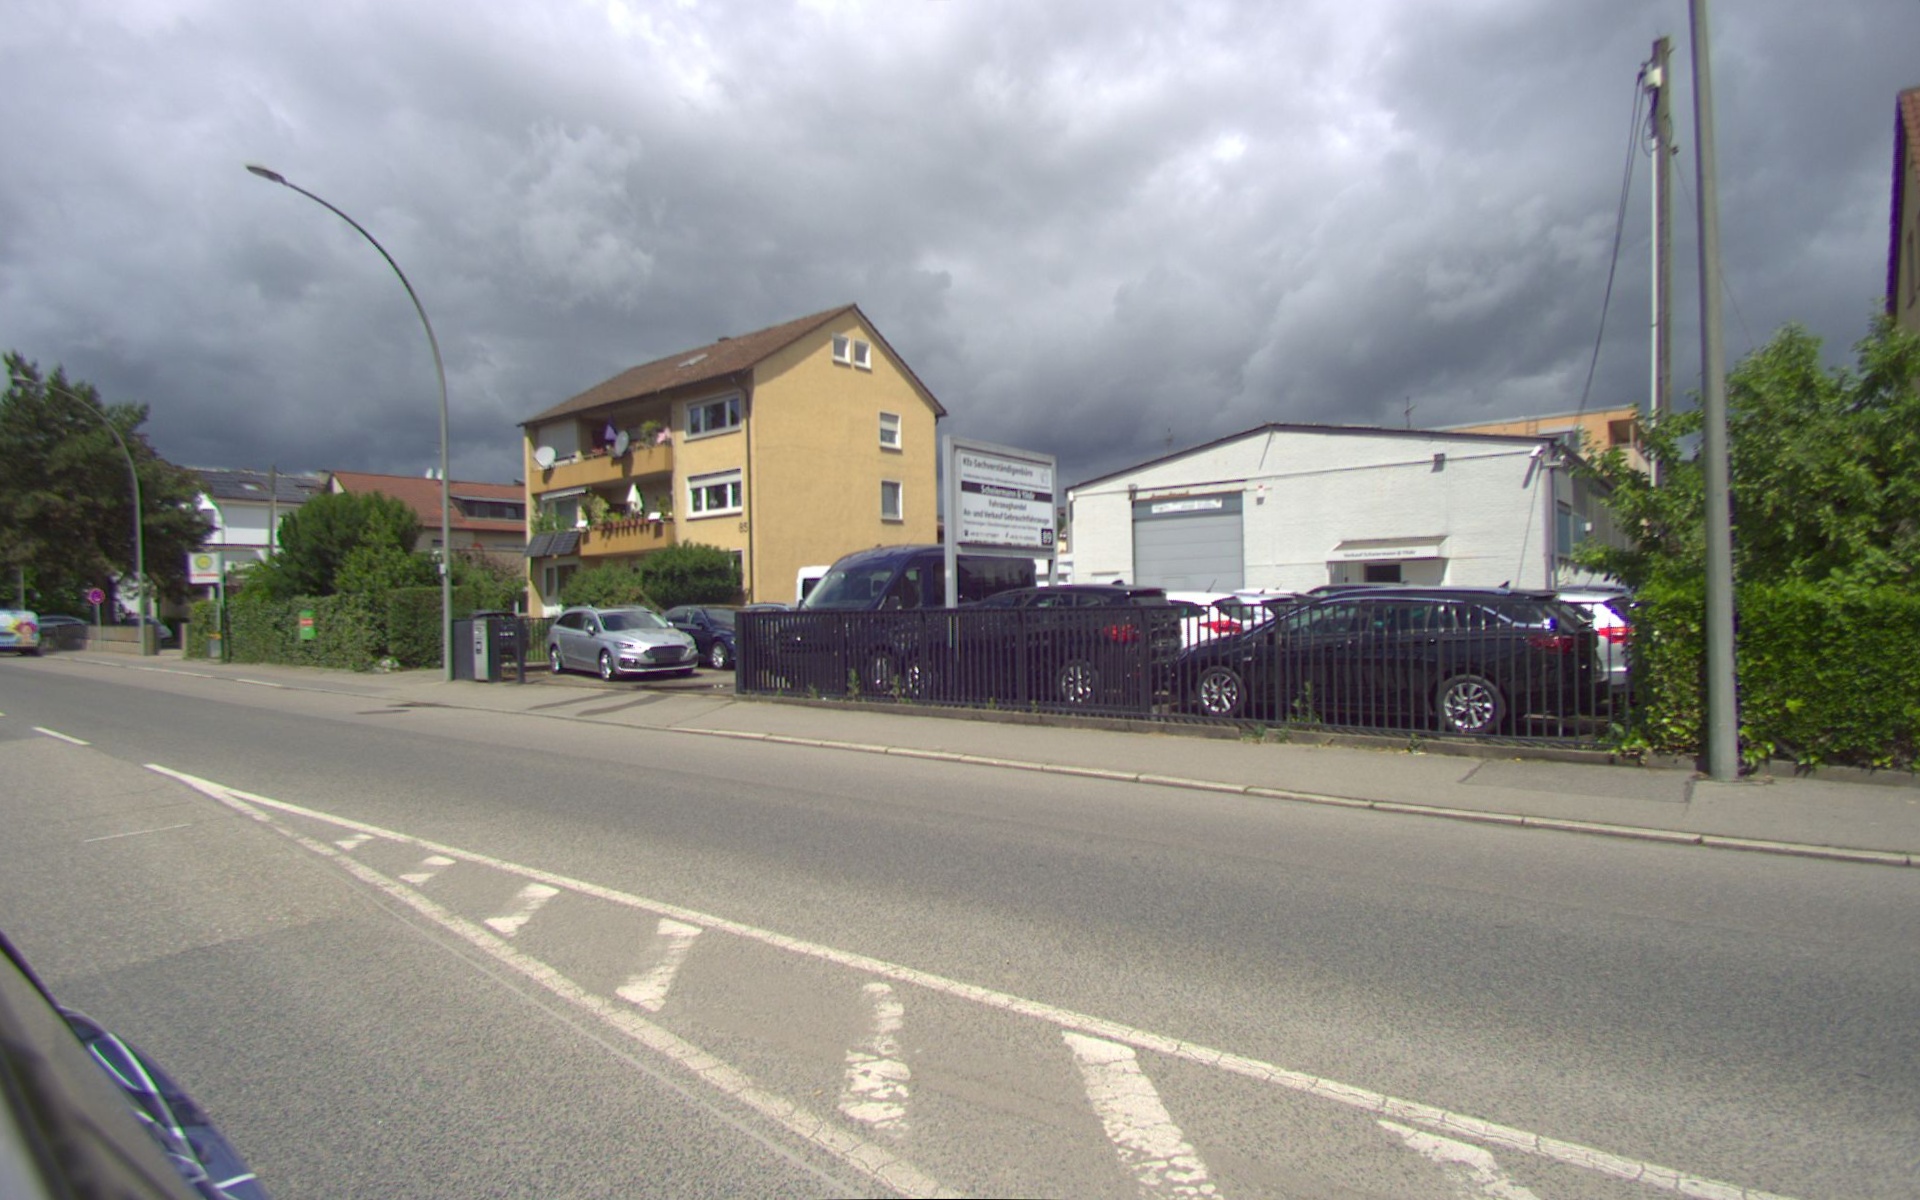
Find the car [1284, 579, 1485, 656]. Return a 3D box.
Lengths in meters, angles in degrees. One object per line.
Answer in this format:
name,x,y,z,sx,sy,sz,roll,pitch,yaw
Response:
car,9.723,0.399,23.269,3.990,1.630,1.761,-1,-1,35

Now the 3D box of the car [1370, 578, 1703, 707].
car,8.279,0.575,14.686,3.994,1.630,1.759,-1,-1,38

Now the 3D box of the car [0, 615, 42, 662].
car,-39.613,1.610,41.762,4.891,1.868,1.815,-2,-5,40

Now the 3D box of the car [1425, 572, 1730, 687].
car,9.823,0.458,16.256,3.994,1.630,1.759,-1,-1,38

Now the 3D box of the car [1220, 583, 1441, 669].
car,7.640,0.523,20.980,3.990,1.630,1.761,-1,-1,35

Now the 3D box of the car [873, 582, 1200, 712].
car,1.020,0.624,14.546,4.277,1.607,2.013,-1,-1,37

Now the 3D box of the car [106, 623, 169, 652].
car,-45.752,2.069,56.266,4.079,1.555,1.751,-1,-1,36

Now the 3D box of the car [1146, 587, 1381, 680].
car,5.806,0.619,19.505,3.990,1.630,1.761,-1,-1,35

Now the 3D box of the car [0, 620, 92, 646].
car,-60.774,2.170,66.866,1.970,1.563,4.960,-1,-1,38

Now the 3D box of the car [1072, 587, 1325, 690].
car,4.173,0.653,17.898,3.990,1.630,1.761,-1,-1,35

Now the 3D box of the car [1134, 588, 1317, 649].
car,8.040,0.564,30.913,4.998,1.726,2.030,-1,-1,37

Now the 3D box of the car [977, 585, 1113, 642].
car,2.806,0.473,34.139,4.328,1.805,1.826,-1,-1,41

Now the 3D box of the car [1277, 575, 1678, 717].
car,6.528,0.527,12.927,4.260,1.518,2.134,-1,-1,37

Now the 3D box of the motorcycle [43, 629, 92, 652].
motorcycle,-46.823,2.111,53.131,1.845,1.174,0.827,0,-1,-34

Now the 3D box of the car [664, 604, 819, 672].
car,-5.236,0.851,23.839,1.821,1.437,4.338,0,-1,-39

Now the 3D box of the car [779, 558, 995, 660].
car,-2.139,0.309,27.888,6.134,2.514,2.386,-1,-3,43

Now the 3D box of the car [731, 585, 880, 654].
car,-4.026,0.492,25.863,1.821,1.589,4.338,0,-1,-39

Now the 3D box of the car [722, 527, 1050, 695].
car,-1.085,0.194,18.234,2.475,2.515,5.977,-2,-1,39

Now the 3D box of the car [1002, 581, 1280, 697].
car,2.829,0.587,16.131,3.990,1.630,1.761,-1,-1,35

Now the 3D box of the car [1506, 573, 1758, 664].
car,13.204,0.371,20.090,3.990,1.630,1.761,-1,-1,35

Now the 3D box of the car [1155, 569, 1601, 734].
car,4.622,0.517,11.423,4.260,1.518,2.133,-1,-1,37

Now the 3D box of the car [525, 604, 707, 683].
car,-7.595,0.871,21.980,1.968,1.497,5.349,0,-1,-40

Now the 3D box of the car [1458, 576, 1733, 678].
car,11.290,0.473,18.180,3.990,1.630,1.761,-1,-1,35

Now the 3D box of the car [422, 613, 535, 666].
car,-14.408,1.139,30.173,1.823,1.437,4.335,0,-1,-43
